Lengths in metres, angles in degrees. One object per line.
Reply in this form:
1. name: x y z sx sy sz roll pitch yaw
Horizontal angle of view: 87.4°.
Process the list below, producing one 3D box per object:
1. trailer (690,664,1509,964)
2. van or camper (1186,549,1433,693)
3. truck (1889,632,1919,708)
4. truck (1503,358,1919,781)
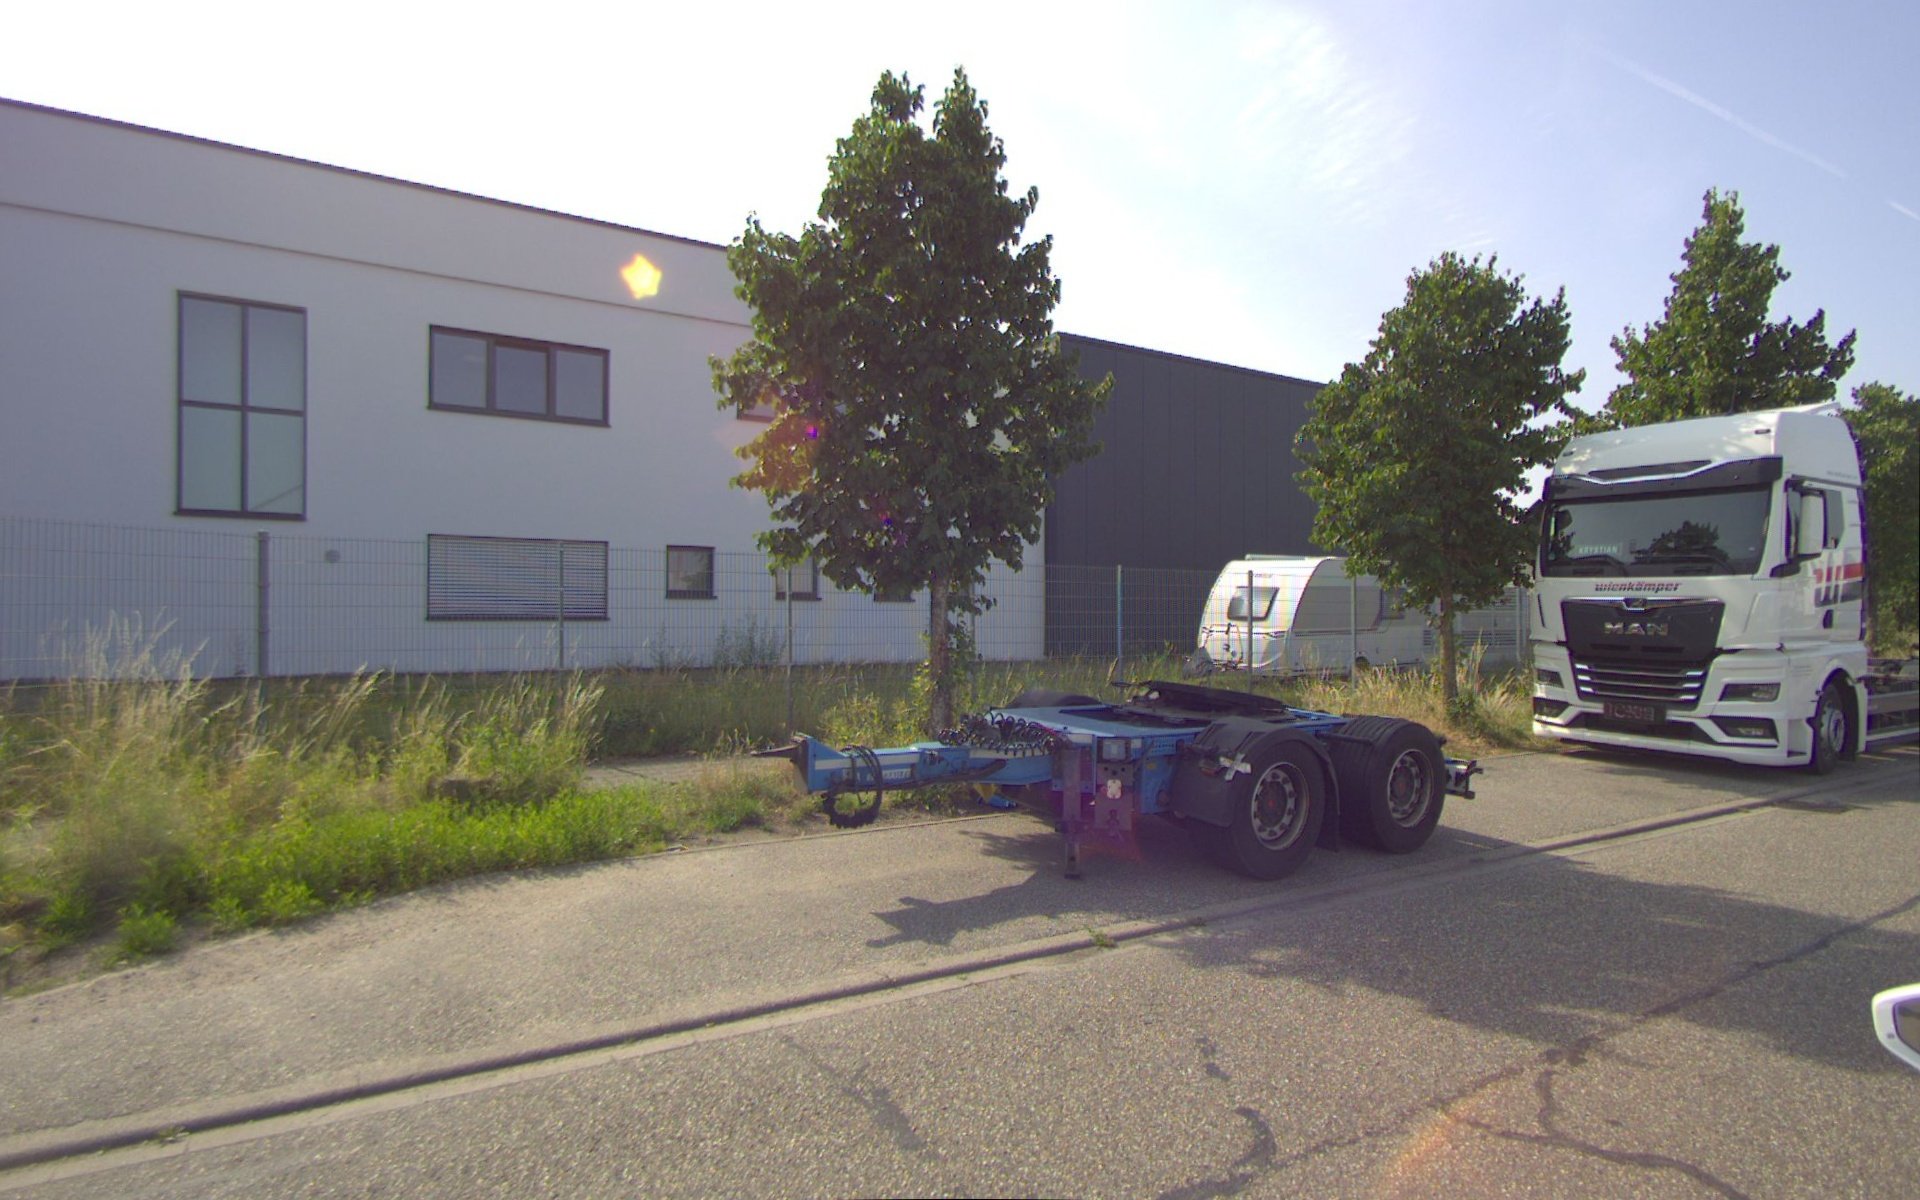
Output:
1. trailer: 1.056 1.096 6.883 5.142 1.114 2.561 1 -1 -32
2. van or camper: 7.143 0.433 20.386 4.903 2.594 2.291 1 -2 -34
3. truck: 19.499 1.199 18.053 6.453 1.282 2.511 0 -1 -32
4. truck: 12.472 -0.203 13.802 12.766 3.981 2.614 1 -1 -30
